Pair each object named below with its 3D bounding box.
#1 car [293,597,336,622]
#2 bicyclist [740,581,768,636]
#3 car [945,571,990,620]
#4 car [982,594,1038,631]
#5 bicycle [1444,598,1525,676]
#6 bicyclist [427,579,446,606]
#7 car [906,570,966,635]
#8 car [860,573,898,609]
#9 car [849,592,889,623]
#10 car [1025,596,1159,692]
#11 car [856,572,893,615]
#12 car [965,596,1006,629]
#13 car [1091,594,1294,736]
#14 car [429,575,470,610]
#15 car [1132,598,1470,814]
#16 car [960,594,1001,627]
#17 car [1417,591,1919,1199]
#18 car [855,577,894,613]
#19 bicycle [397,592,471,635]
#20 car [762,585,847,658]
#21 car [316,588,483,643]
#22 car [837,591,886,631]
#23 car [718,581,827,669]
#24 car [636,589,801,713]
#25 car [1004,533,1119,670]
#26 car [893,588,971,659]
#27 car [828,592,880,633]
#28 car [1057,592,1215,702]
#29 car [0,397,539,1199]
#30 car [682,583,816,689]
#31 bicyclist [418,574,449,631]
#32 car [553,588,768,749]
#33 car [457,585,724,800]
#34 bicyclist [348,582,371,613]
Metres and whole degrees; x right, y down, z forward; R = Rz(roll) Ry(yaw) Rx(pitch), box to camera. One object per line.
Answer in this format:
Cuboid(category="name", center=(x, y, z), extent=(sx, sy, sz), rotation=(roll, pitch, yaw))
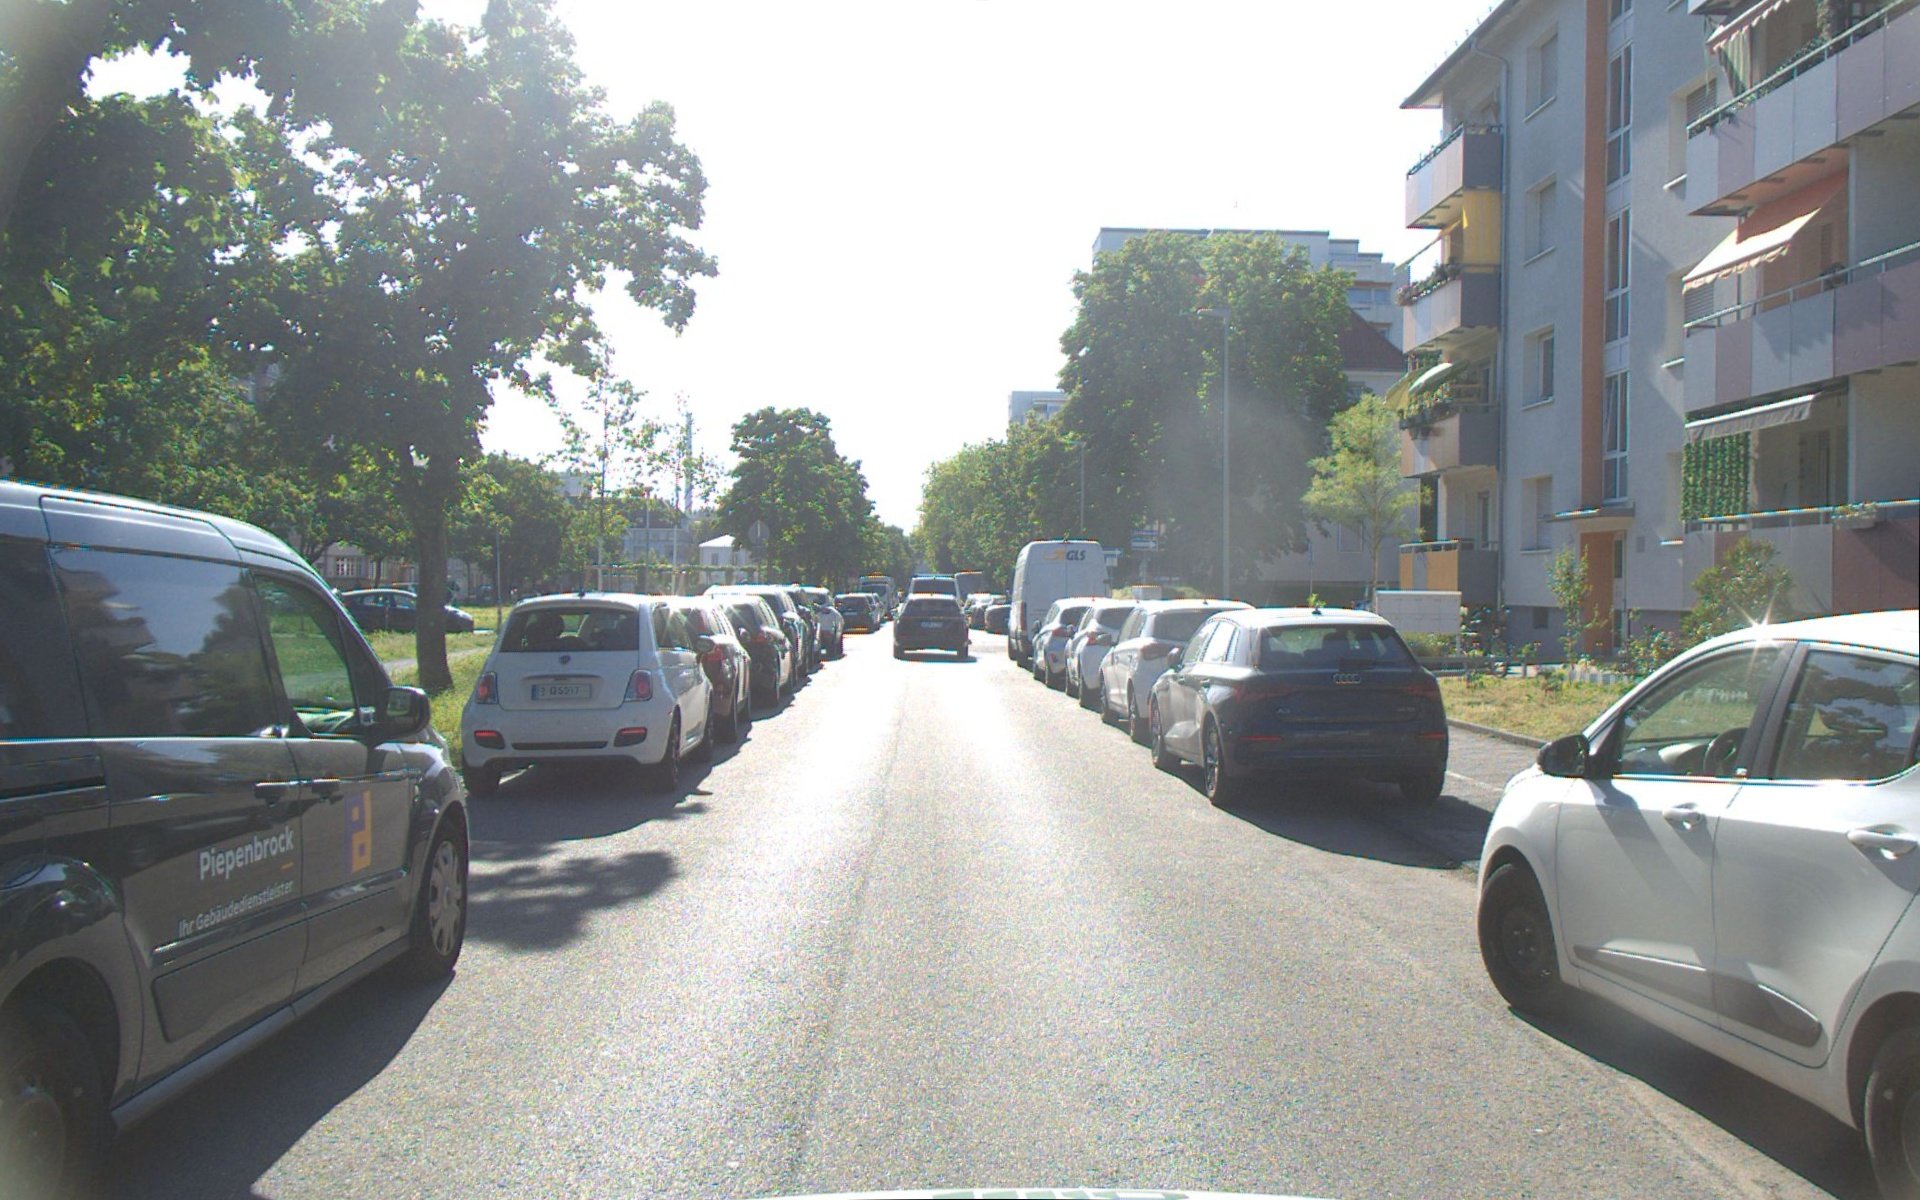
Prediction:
Cuboid(category="car", center=(-39.885, 0.565, 102.244), extent=(1.352, 1.465, 3.341), rotation=(1, 0, -1))
Cuboid(category="bicyclist", center=(-6.187, 0.245, 49.649), extent=(0.773, 1.624, 0.695), rotation=(1, 0, -5))
Cuboid(category="car", center=(0.387, -0.259, 94.516), extent=(2.120, 2.736, 5.411), rotation=(0, 0, -5))
Cuboid(category="car", center=(1.978, 0.495, 67.057), extent=(2.082, 1.361, 4.505), rotation=(-2, 0, 0))
Cuboid(category="bicycle", center=(8.360, 0.597, 26.417), extent=(0.584, 1.197, 2.013), rotation=(1, -1, -2))
Cuboid(category="bicyclist", center=(-36.595, -0.525, 115.553), extent=(0.922, 1.869, 1.449), rotation=(0, -1, -3))
Cuboid(category="car", center=(-0.763, 0.064, 54.472), extent=(1.856, 2.026, 4.010), rotation=(-1, 0, 0))
Cuboid(category="car", center=(-6.126, -0.688, 125.685), extent=(2.563, 2.691, 6.113), rotation=(1, 0, 0))
Cuboid(category="car", center=(-4.672, 0.373, 85.386), extent=(1.796, 1.526, 4.126), rotation=(1, 0, 0))
Cuboid(category="car", center=(2.253, 0.720, 29.275), extent=(1.812, 1.491, 4.199), rotation=(1, 0, -3))
Cuboid(category="car", center=(-5.154, -0.402, 100.253), extent=(2.055, 2.540, 4.126), rotation=(1, 0, 0))
Cuboid(category="car", center=(1.104, 0.521, 72.988), extent=(1.743, 1.395, 4.126), rotation=(1, 0, 0))
Cuboid(category="car", center=(2.578, 0.669, 19.220), extent=(1.686, 1.460, 4.151), rotation=(0, 0, -1))
Cuboid(category="car", center=(-41.046, -0.591, 133.004), extent=(1.878, 2.792, 5.620), rotation=(1, 0, -4))
Cuboid(category="car", center=(2.622, 0.733, 13.789), extent=(1.665, 1.460, 4.469), rotation=(-1, 0, -3))
Cuboid(category="car", center=(0.954, 0.493, 79.359), extent=(1.744, 1.513, 4.029), rotation=(0, 0, -3))
Cuboid(category="car", center=(2.959, 0.734, 5.216), extent=(1.713, 1.525, 3.857), rotation=(0, 0, -5))
Cuboid(category="car", center=(-4.832, -0.270, 93.850), extent=(2.056, 1.976, 4.125), rotation=(1, 0, -1))
Cuboid(category="bicycle", center=(-15.990, 0.406, 50.264), extent=(2.116, 1.280, 0.710), rotation=(0, 0, -22))
Cuboid(category="car", center=(-3.806, 0.502, 41.102), extent=(1.720, 1.676, 4.287), rotation=(-1, 0, 0))
Cuboid(category="car", center=(-15.825, 0.420, 46.706), extent=(4.280, 1.433, 1.905), rotation=(0, 2, -26))
Cuboid(category="car", center=(-4.010, 0.443, 67.675), extent=(1.741, 1.521, 3.874), rotation=(-1, 0, 0))
Cuboid(category="car", center=(-3.845, 0.478, 34.580), extent=(1.805, 1.667, 4.714), rotation=(-1, 0, -1))
Cuboid(category="car", center=(-3.316, 0.642, 23.476), extent=(1.836, 1.546, 4.468), rotation=(-2, 0, -3))
Cuboid(category="car", center=(2.162, 0.014, 37.243), extent=(2.099, 2.760, 6.841), rotation=(-1, 0, 0))
Cuboid(category="car", center=(-0.647, 0.528, 39.638), extent=(1.743, 1.558, 4.000), rotation=(2, 0, 0))
Cuboid(category="car", center=(-4.007, 0.473, 63.153), extent=(1.712, 1.449, 3.916), rotation=(-2, -1, 0))
Cuboid(category="car", center=(2.519, 0.634, 24.596), extent=(1.840, 1.501, 4.139), rotation=(0, 0, -1))
Cuboid(category="car", center=(-2.791, 0.530, 5.068), extent=(1.826, 1.816, 4.990), rotation=(0, 0, -1))
Cuboid(category="car", center=(-3.537, 0.554, 28.500), extent=(1.783, 1.638, 4.737), rotation=(-1, 0, -1))
Cuboid(category="bicyclist", center=(-15.991, 0.072, 50.264), extent=(0.864, 1.720, 0.628), rotation=(0, 0, -21))
Cuboid(category="car", center=(-3.158, 0.649, 18.310), extent=(1.720, 1.518, 4.665), rotation=(-1, 0, -3))
Cuboid(category="car", center=(-2.949, 0.662, 13.871), extent=(1.555, 1.518, 3.683), rotation=(-1, 0, -3))
Cuboid(category="bicyclist", center=(-36.596, -0.153, 100.772), extent=(0.922, 1.869, 1.449), rotation=(0, -1, -2))
